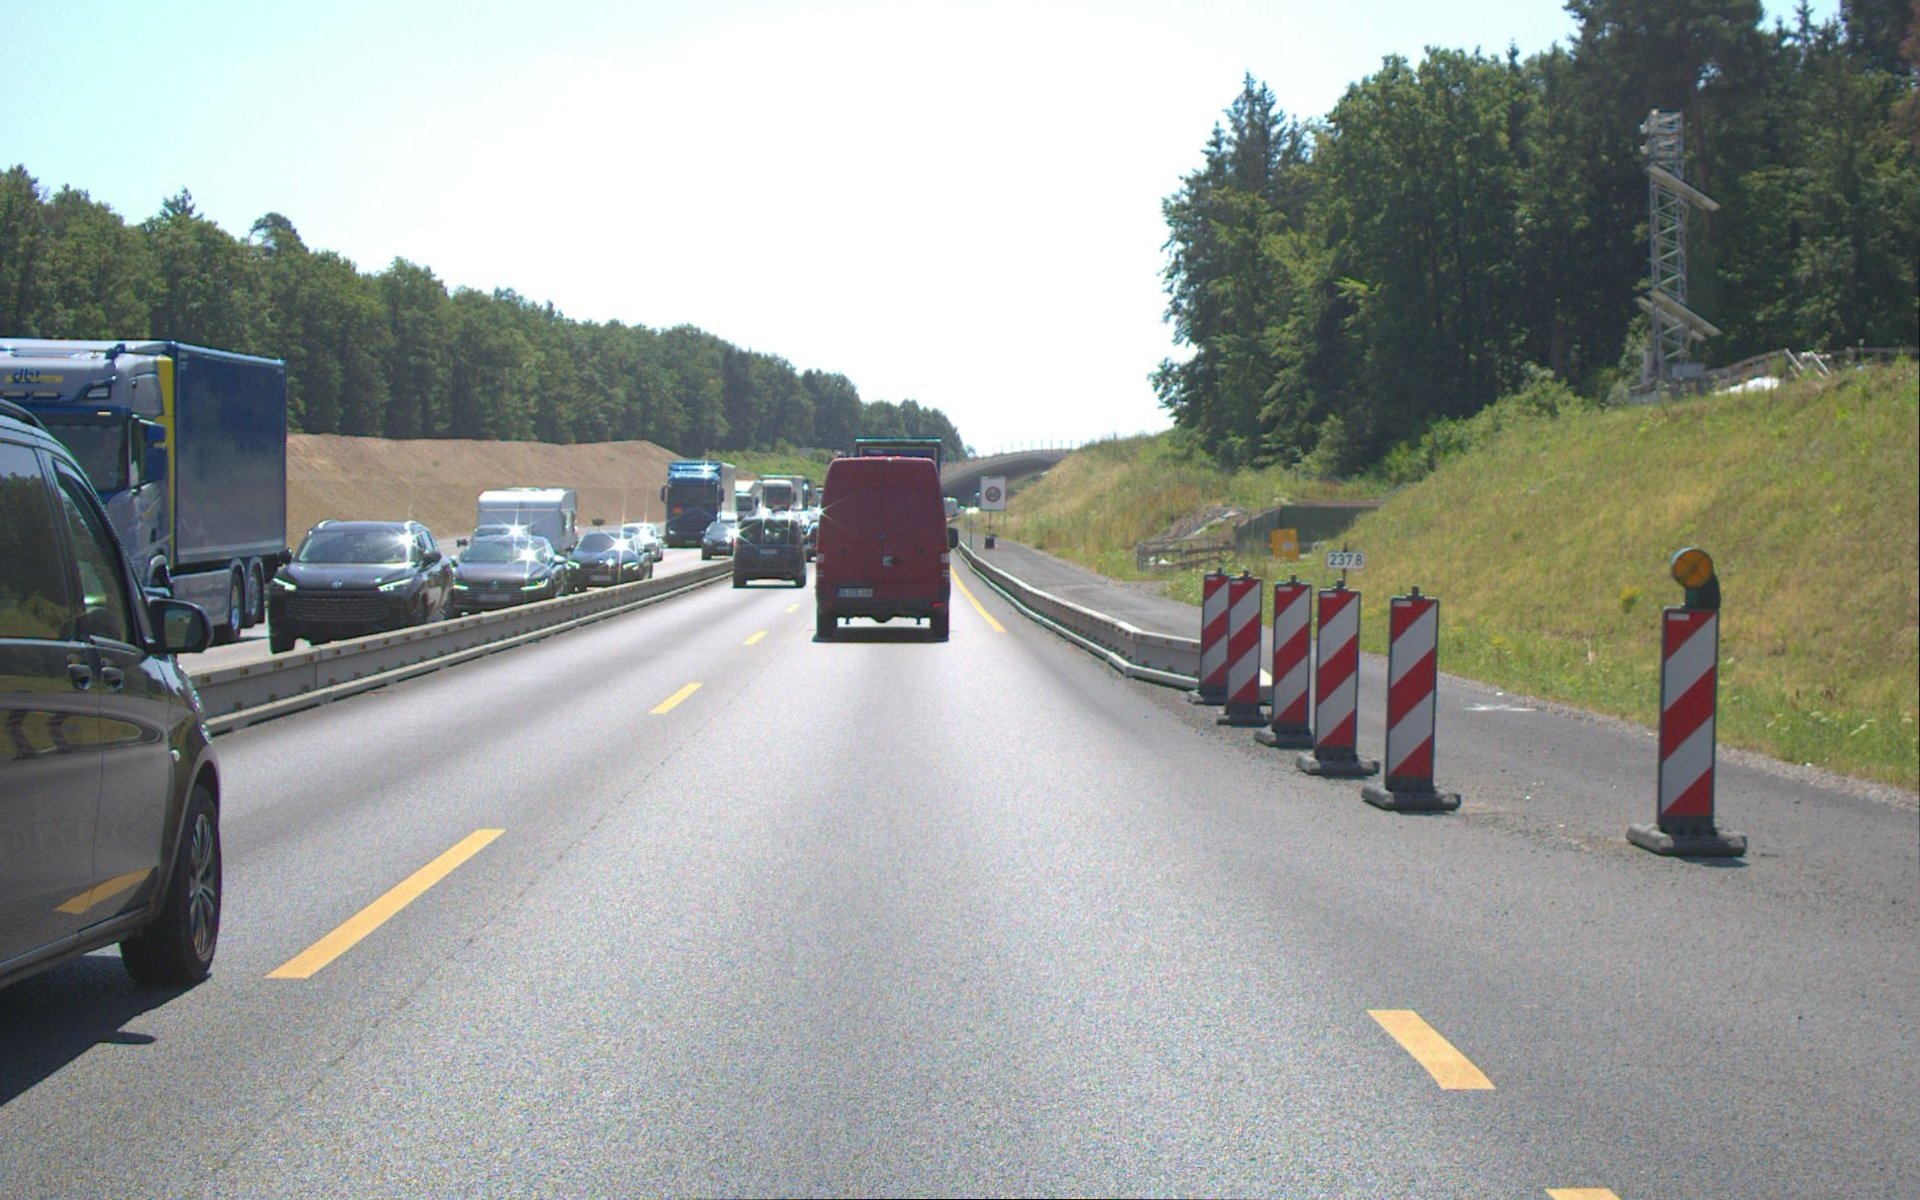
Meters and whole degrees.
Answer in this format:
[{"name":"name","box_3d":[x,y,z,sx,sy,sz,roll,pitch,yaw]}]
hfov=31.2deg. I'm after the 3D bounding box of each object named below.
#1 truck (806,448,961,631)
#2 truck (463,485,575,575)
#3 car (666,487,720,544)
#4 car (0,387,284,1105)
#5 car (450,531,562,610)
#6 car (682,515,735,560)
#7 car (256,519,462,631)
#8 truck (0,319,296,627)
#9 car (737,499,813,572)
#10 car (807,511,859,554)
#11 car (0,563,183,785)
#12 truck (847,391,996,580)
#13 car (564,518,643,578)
[{"name":"truck","box_3d":[-1.206,-0.862,51.791,2.153,2.581,5.334,1,0,-3]},{"name":"truck","box_3d":[-12.225,-1.920,95.600,2.400,2.350,5.227,1,0,0]},{"name":"car","box_3d":[-12.723,-4.022,164.008,2.385,2.571,4.000,1,0,-2]},{"name":"car","box_3d":[-3.410,0.353,9.921,1.874,1.845,5.479,1,1,-1]},{"name":"car","box_3d":[-7.911,-0.497,60.103,1.464,1.323,3.371,1,0,0]},{"name":"car","box_3d":[-9.801,-2.432,134.362,1.776,1.664,3.840,1,0,0]},{"name":"car","box_3d":[-7.493,-0.296,43.198,1.841,1.323,3.942,1,0,0]},{"name":"truck","box_3d":[-10.979,-1.491,45.354,2.509,3.605,9.641,1,0,0]},{"name":"car","box_3d":[-4.798,-1.659,89.508,1.751,1.818,4.783,1,1,-1]},{"name":"car","box_3d":[-4.774,-2.516,129.505,1.831,1.517,3.961,1,0,-1]},{"name":"car","box_3d":[-7.175,0.529,26.462,1.683,1.590,3.224,1,0,-1]},{"name":"truck","box_3d":[-1.257,-3.510,111.857,4.400,5.477,16.603,1,0,-1]},{"name":"car","box_3d":[-8.400,-1.215,81.198,1.464,1.323,3.371,1,0,0]}]
